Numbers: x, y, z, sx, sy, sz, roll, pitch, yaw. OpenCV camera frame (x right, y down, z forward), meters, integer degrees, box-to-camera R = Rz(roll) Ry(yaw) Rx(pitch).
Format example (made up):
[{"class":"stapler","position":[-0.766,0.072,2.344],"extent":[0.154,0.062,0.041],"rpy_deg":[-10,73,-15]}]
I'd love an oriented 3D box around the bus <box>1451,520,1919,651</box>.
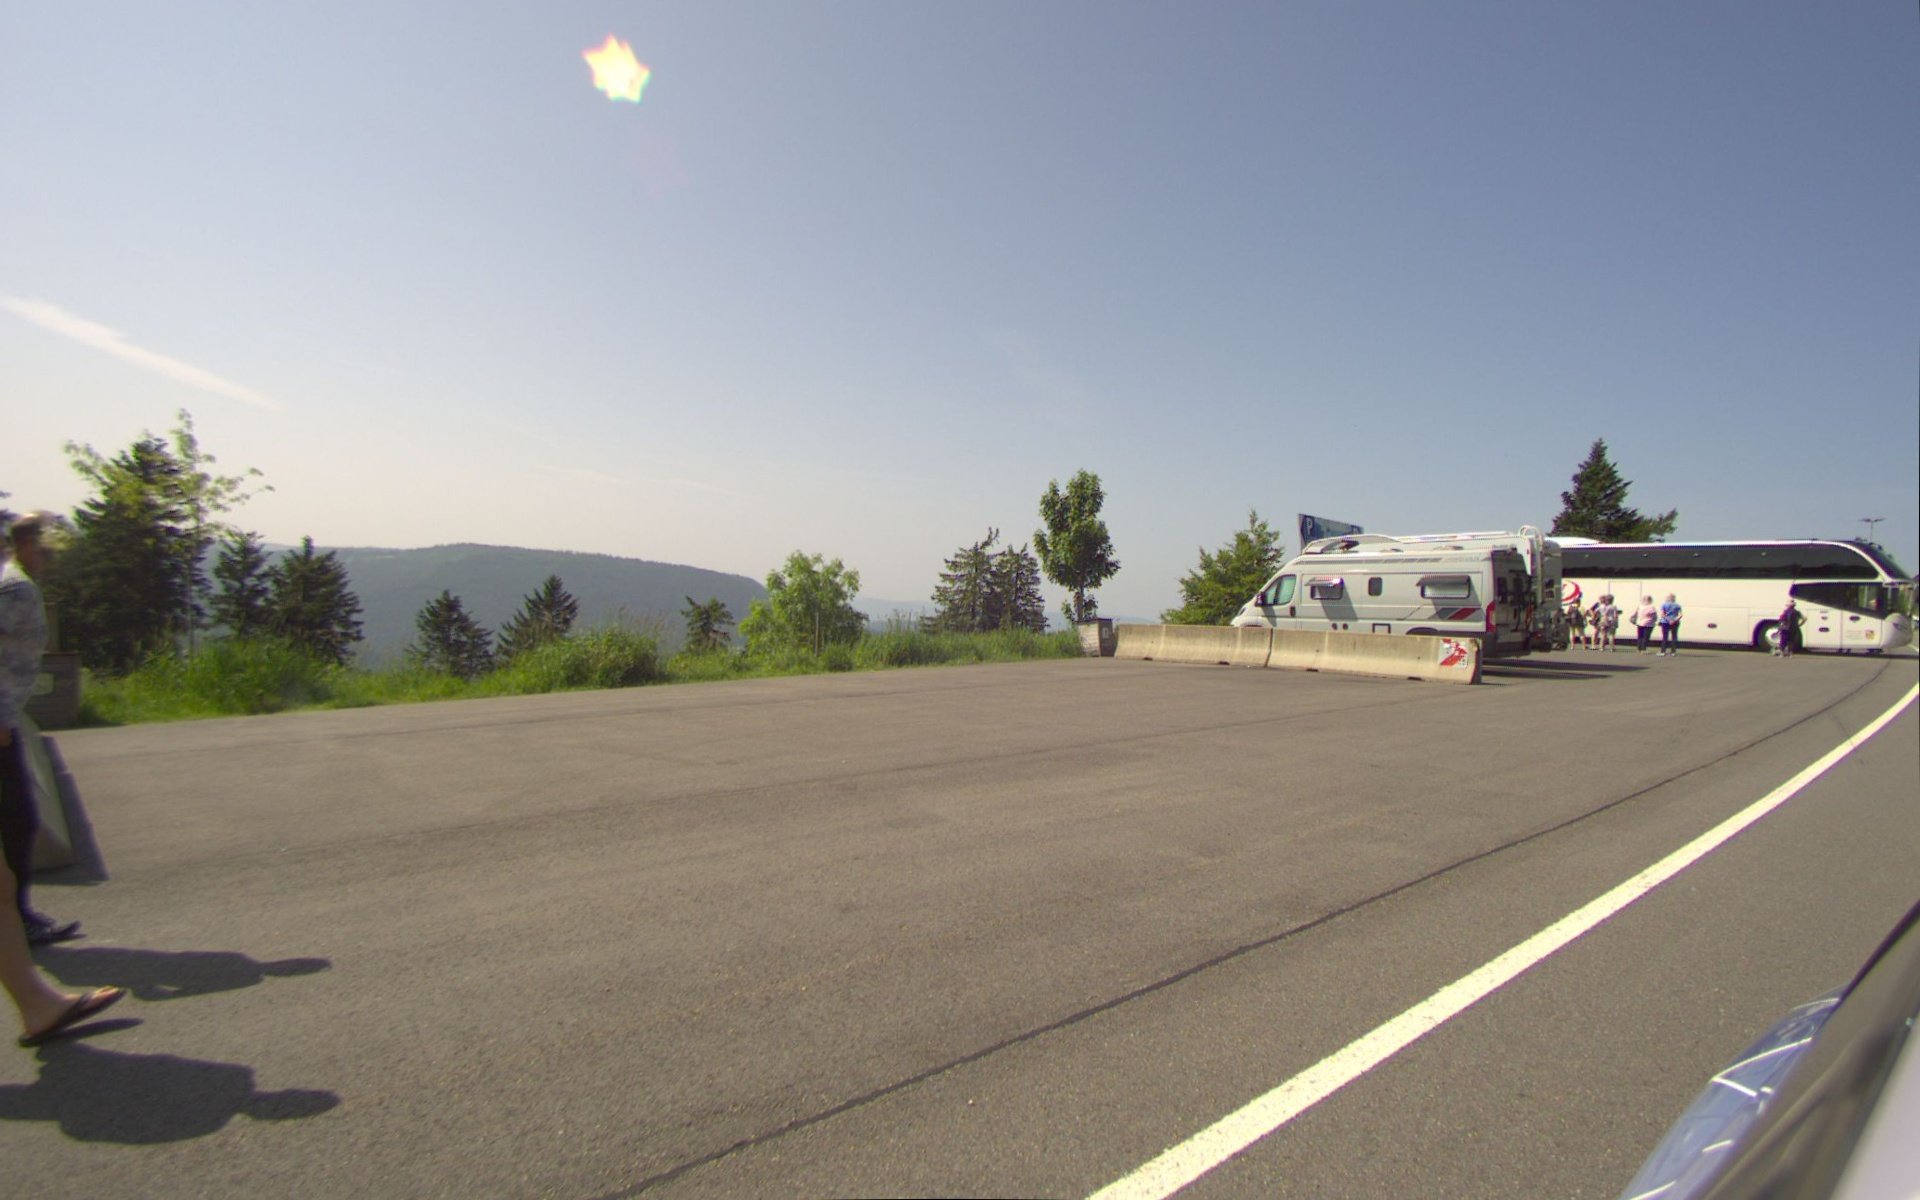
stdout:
[{"class":"bus","position":[23.591,-0.591,33.749],"extent":[2.789,3.622,12.871],"rpy_deg":[1,1,-41]}]

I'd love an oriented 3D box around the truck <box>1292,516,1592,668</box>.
[{"class":"truck","position":[11.538,-0.274,24.655],"extent":[2.489,3.235,6.072],"rpy_deg":[0,2,-42]}]

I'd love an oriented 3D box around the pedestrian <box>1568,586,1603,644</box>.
[{"class":"pedestrian","position":[19.104,0.453,30.909],"extent":[0.615,1.718,0.633],"rpy_deg":[1,0,-29]}]

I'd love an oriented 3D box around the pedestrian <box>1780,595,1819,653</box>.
[{"class":"pedestrian","position":[23.582,0.656,28.426],"extent":[0.615,1.586,0.633],"rpy_deg":[1,0,-29]}]

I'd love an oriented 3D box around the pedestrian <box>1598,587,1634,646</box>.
[{"class":"pedestrian","position":[19.501,0.480,30.093],"extent":[0.615,1.719,0.633],"rpy_deg":[1,0,-29]}]

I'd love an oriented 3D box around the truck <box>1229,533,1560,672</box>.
[{"class":"truck","position":[9.304,-0.040,22.266],"extent":[2.299,2.623,6.271],"rpy_deg":[1,1,-41]}]

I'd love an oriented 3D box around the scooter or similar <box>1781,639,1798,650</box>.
[{"class":"scooter or similar","position":[23.843,1.276,29.094],"extent":[0.320,0.315,0.285],"rpy_deg":[1,1,-34]}]

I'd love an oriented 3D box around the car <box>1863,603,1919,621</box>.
[{"class":"car","position":[115.334,1.493,125.227],"extent":[5.238,1.929,1.969],"rpy_deg":[3,1,43]}]

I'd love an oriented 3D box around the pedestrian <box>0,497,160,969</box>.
[{"class":"pedestrian","position":[-3.820,0.488,4.017],"extent":[0.876,1.763,0.668],"rpy_deg":[1,0,-28]}]

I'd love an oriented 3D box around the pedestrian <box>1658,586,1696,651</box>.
[{"class":"pedestrian","position":[20.096,0.515,28.366],"extent":[0.615,1.780,0.633],"rpy_deg":[1,0,-29]}]

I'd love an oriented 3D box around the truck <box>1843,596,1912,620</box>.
[{"class":"truck","position":[119.661,1.042,132.025],"extent":[8.576,2.865,2.877],"rpy_deg":[1,1,-20]}]

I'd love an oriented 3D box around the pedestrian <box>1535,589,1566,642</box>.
[{"class":"pedestrian","position":[19.611,0.511,33.600],"extent":[0.615,1.718,0.633],"rpy_deg":[1,0,-29]}]

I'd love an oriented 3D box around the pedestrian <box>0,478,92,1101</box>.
[{"class":"pedestrian","position":[-3.232,0.529,3.051],"extent":[0.759,1.782,0.757],"rpy_deg":[1,1,-28]}]

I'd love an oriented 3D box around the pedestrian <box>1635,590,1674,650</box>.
[{"class":"pedestrian","position":[19.972,0.570,29.110],"extent":[0.615,1.671,0.633],"rpy_deg":[1,0,-18]}]

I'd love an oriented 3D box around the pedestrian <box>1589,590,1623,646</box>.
[{"class":"pedestrian","position":[19.994,0.553,31.343],"extent":[0.615,1.700,0.633],"rpy_deg":[1,0,-29]}]
